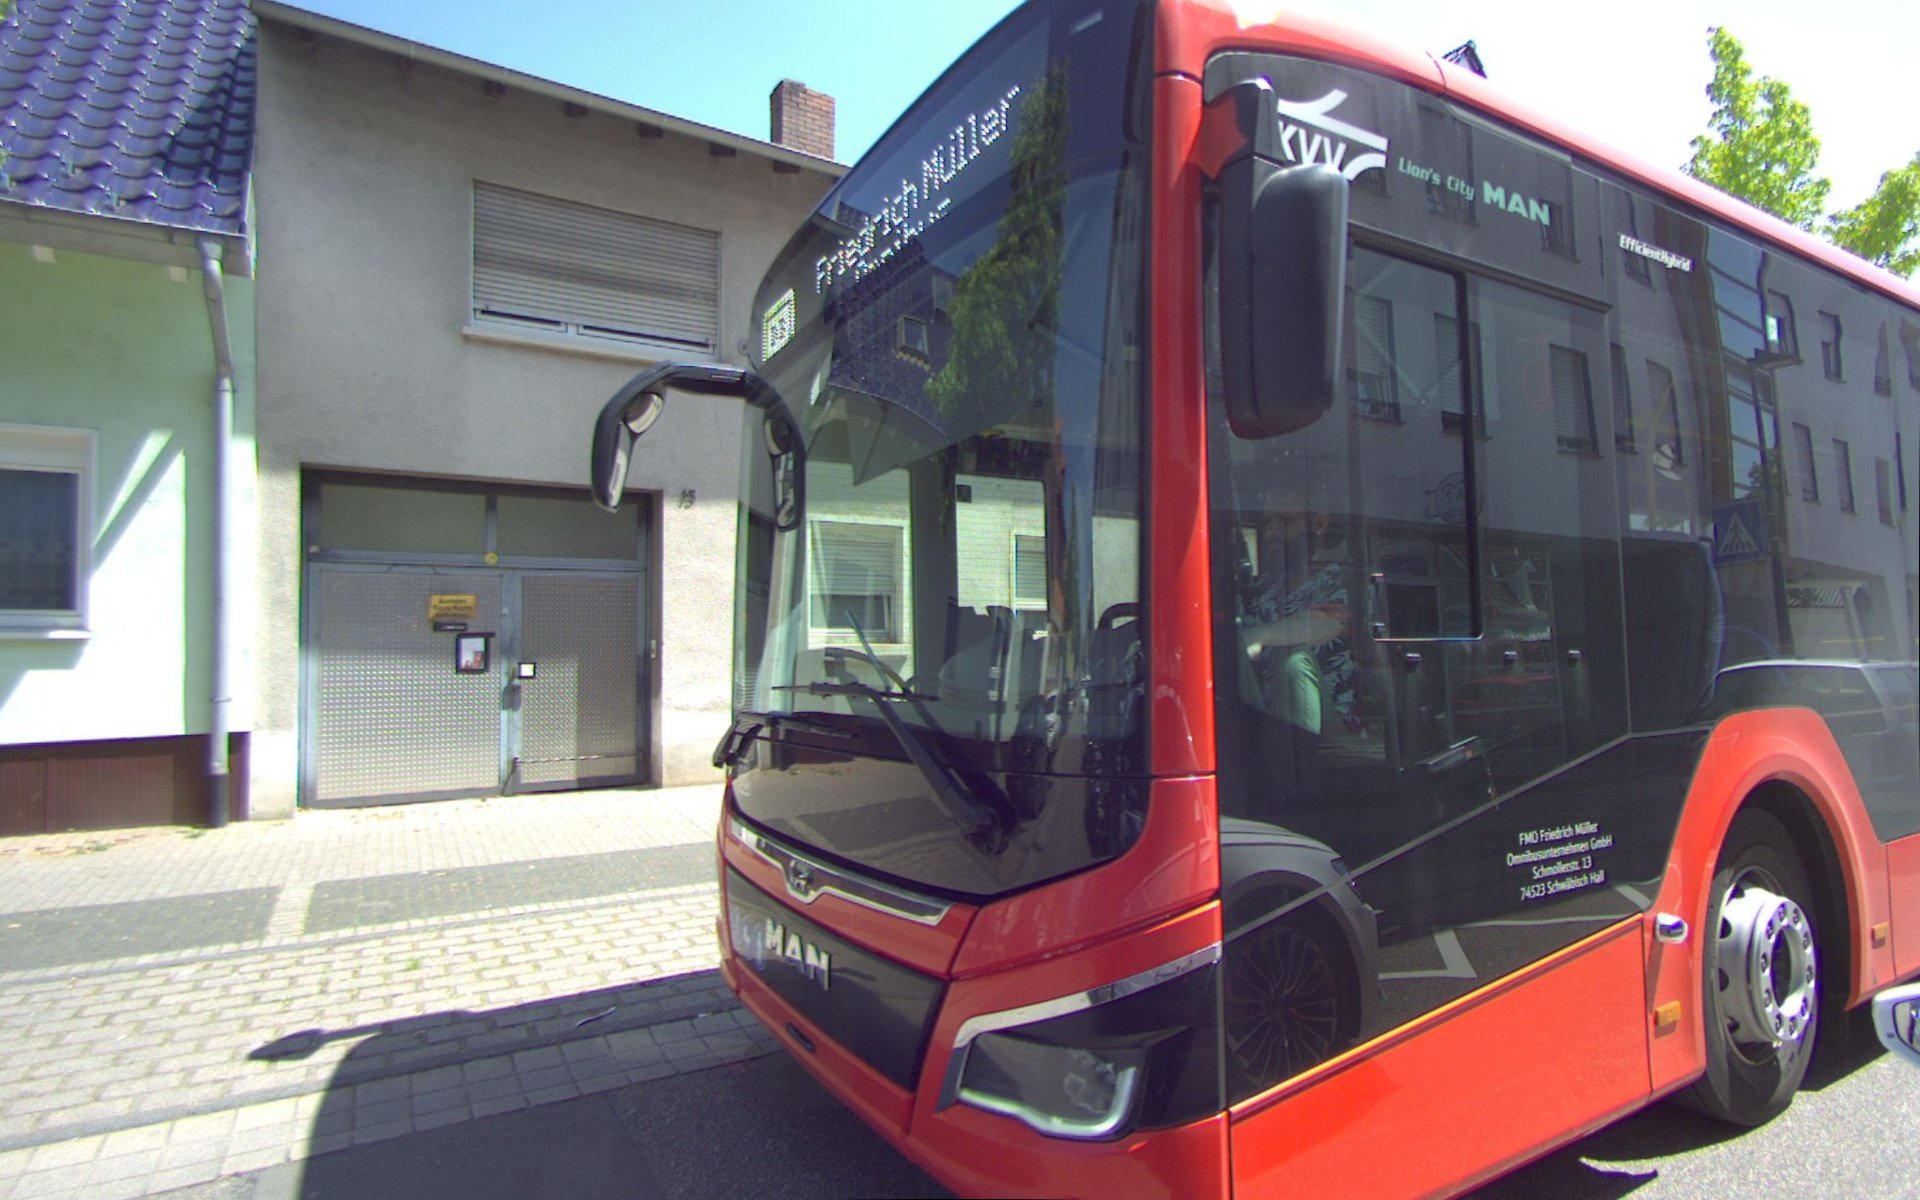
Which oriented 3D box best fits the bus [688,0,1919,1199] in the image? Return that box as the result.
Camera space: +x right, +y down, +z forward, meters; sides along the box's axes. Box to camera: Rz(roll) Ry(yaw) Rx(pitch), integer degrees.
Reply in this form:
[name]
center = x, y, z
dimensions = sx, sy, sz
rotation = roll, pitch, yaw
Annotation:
[bus]
center = 7.104, 0.160, 7.450
dimensions = 17.604, 3.164, 2.655
rotation = 1, -2, -32
